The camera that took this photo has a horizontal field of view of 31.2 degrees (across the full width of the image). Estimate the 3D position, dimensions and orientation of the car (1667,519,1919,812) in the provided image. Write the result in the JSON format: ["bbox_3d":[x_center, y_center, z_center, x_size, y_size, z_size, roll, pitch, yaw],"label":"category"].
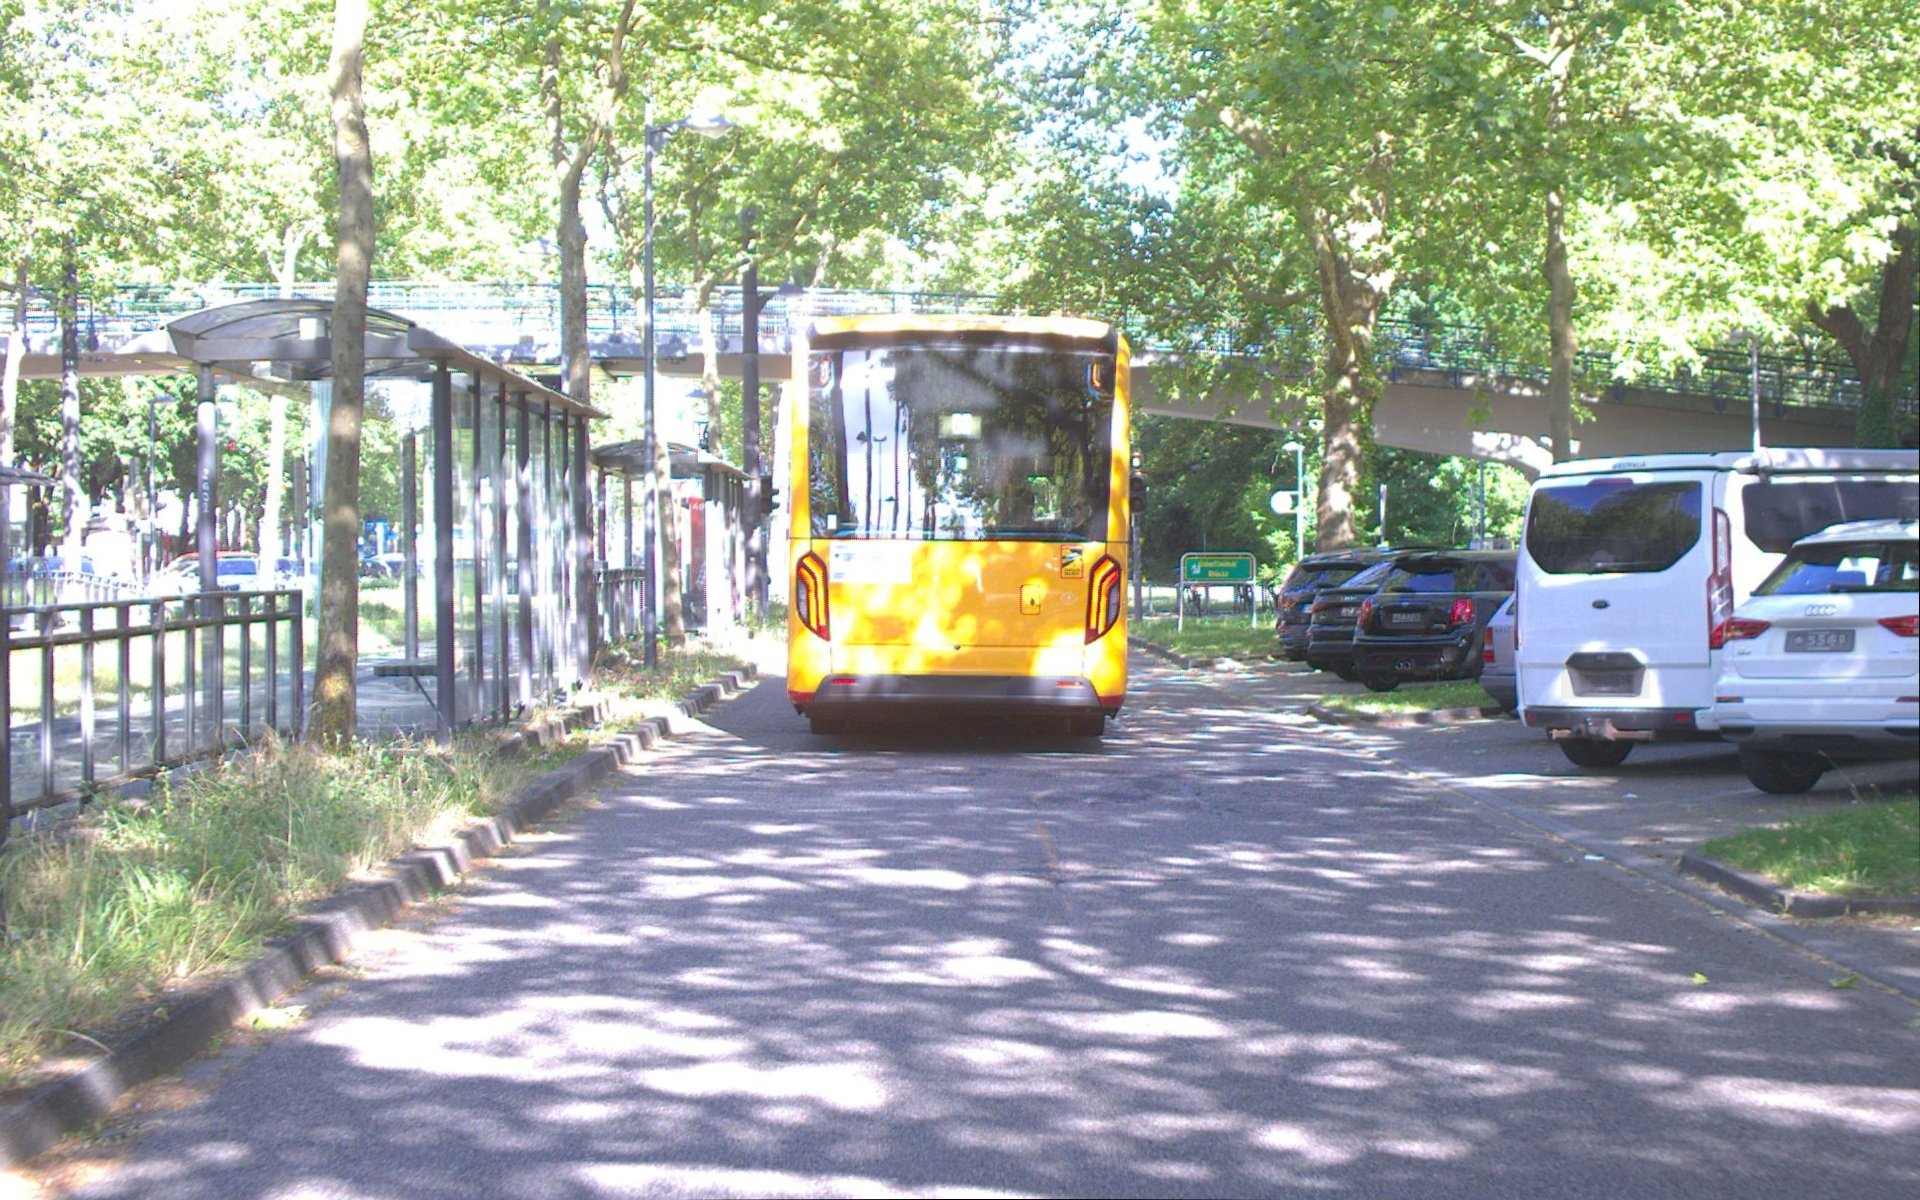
[{"bbox_3d":[6.195,0.286,20.484,4.047,1.575,1.832,-3,1,-43],"label":"car"}]

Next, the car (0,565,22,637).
[{"bbox_3d":[-21.637,0.030,74.331,1.794,1.561,4.288,0,1,-4],"label":"car"}]

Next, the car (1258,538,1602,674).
[{"bbox_3d":[5.852,0.062,42.536,4.245,1.456,1.799,-3,1,-40],"label":"car"}]

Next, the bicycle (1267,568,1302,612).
[{"bbox_3d":[6.734,-0.220,71.465,0.505,0.849,1.473,-4,2,-1],"label":"bicycle"}]

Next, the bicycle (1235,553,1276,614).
[{"bbox_3d":[6.139,-0.353,71.584,0.590,1.179,1.800,-4,2,-1],"label":"bicycle"}]

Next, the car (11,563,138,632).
[{"bbox_3d":[-20.775,-0.082,80.567,1.794,1.561,4.288,-1,1,-30],"label":"car"}]

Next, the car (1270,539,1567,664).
[{"bbox_3d":[6.147,0.011,45.834,3.990,1.456,1.799,-3,1,-45],"label":"car"}]

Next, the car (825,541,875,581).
[{"bbox_3d":[-4.945,-1.772,154.494,1.986,1.637,4.134,2,2,1],"label":"car"}]

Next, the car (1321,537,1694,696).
[{"bbox_3d":[5.847,0.158,36.485,3.989,1.463,1.782,-3,1,-43],"label":"car"}]

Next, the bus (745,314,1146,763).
[{"bbox_3d":[-0.258,-0.529,31.133,2.899,3.255,12.219,0,1,-1],"label":"bus"}]

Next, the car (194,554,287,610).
[{"bbox_3d":[-20.889,-0.542,99.958,1.794,1.575,4.288,0,1,0],"label":"car"}]

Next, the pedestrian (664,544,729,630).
[{"bbox_3d":[-3.850,-0.198,50.272,0.855,1.239,0.850,1,1,1],"label":"pedestrian"}]

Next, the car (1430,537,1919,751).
[{"bbox_3d":[5.914,0.302,27.032,4.577,1.419,1.799,-3,1,-42],"label":"car"}]

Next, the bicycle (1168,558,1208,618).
[{"bbox_3d":[4.746,-0.261,71.596,0.590,1.179,1.800,-4,2,-1],"label":"bicycle"}]

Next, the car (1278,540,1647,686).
[{"bbox_3d":[5.821,0.138,39.567,4.244,1.456,1.799,-3,1,-40],"label":"car"}]

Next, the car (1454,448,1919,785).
[{"bbox_3d":[5.709,0.038,23.470,4.577,2.045,2.017,-3,1,-40],"label":"car"}]
